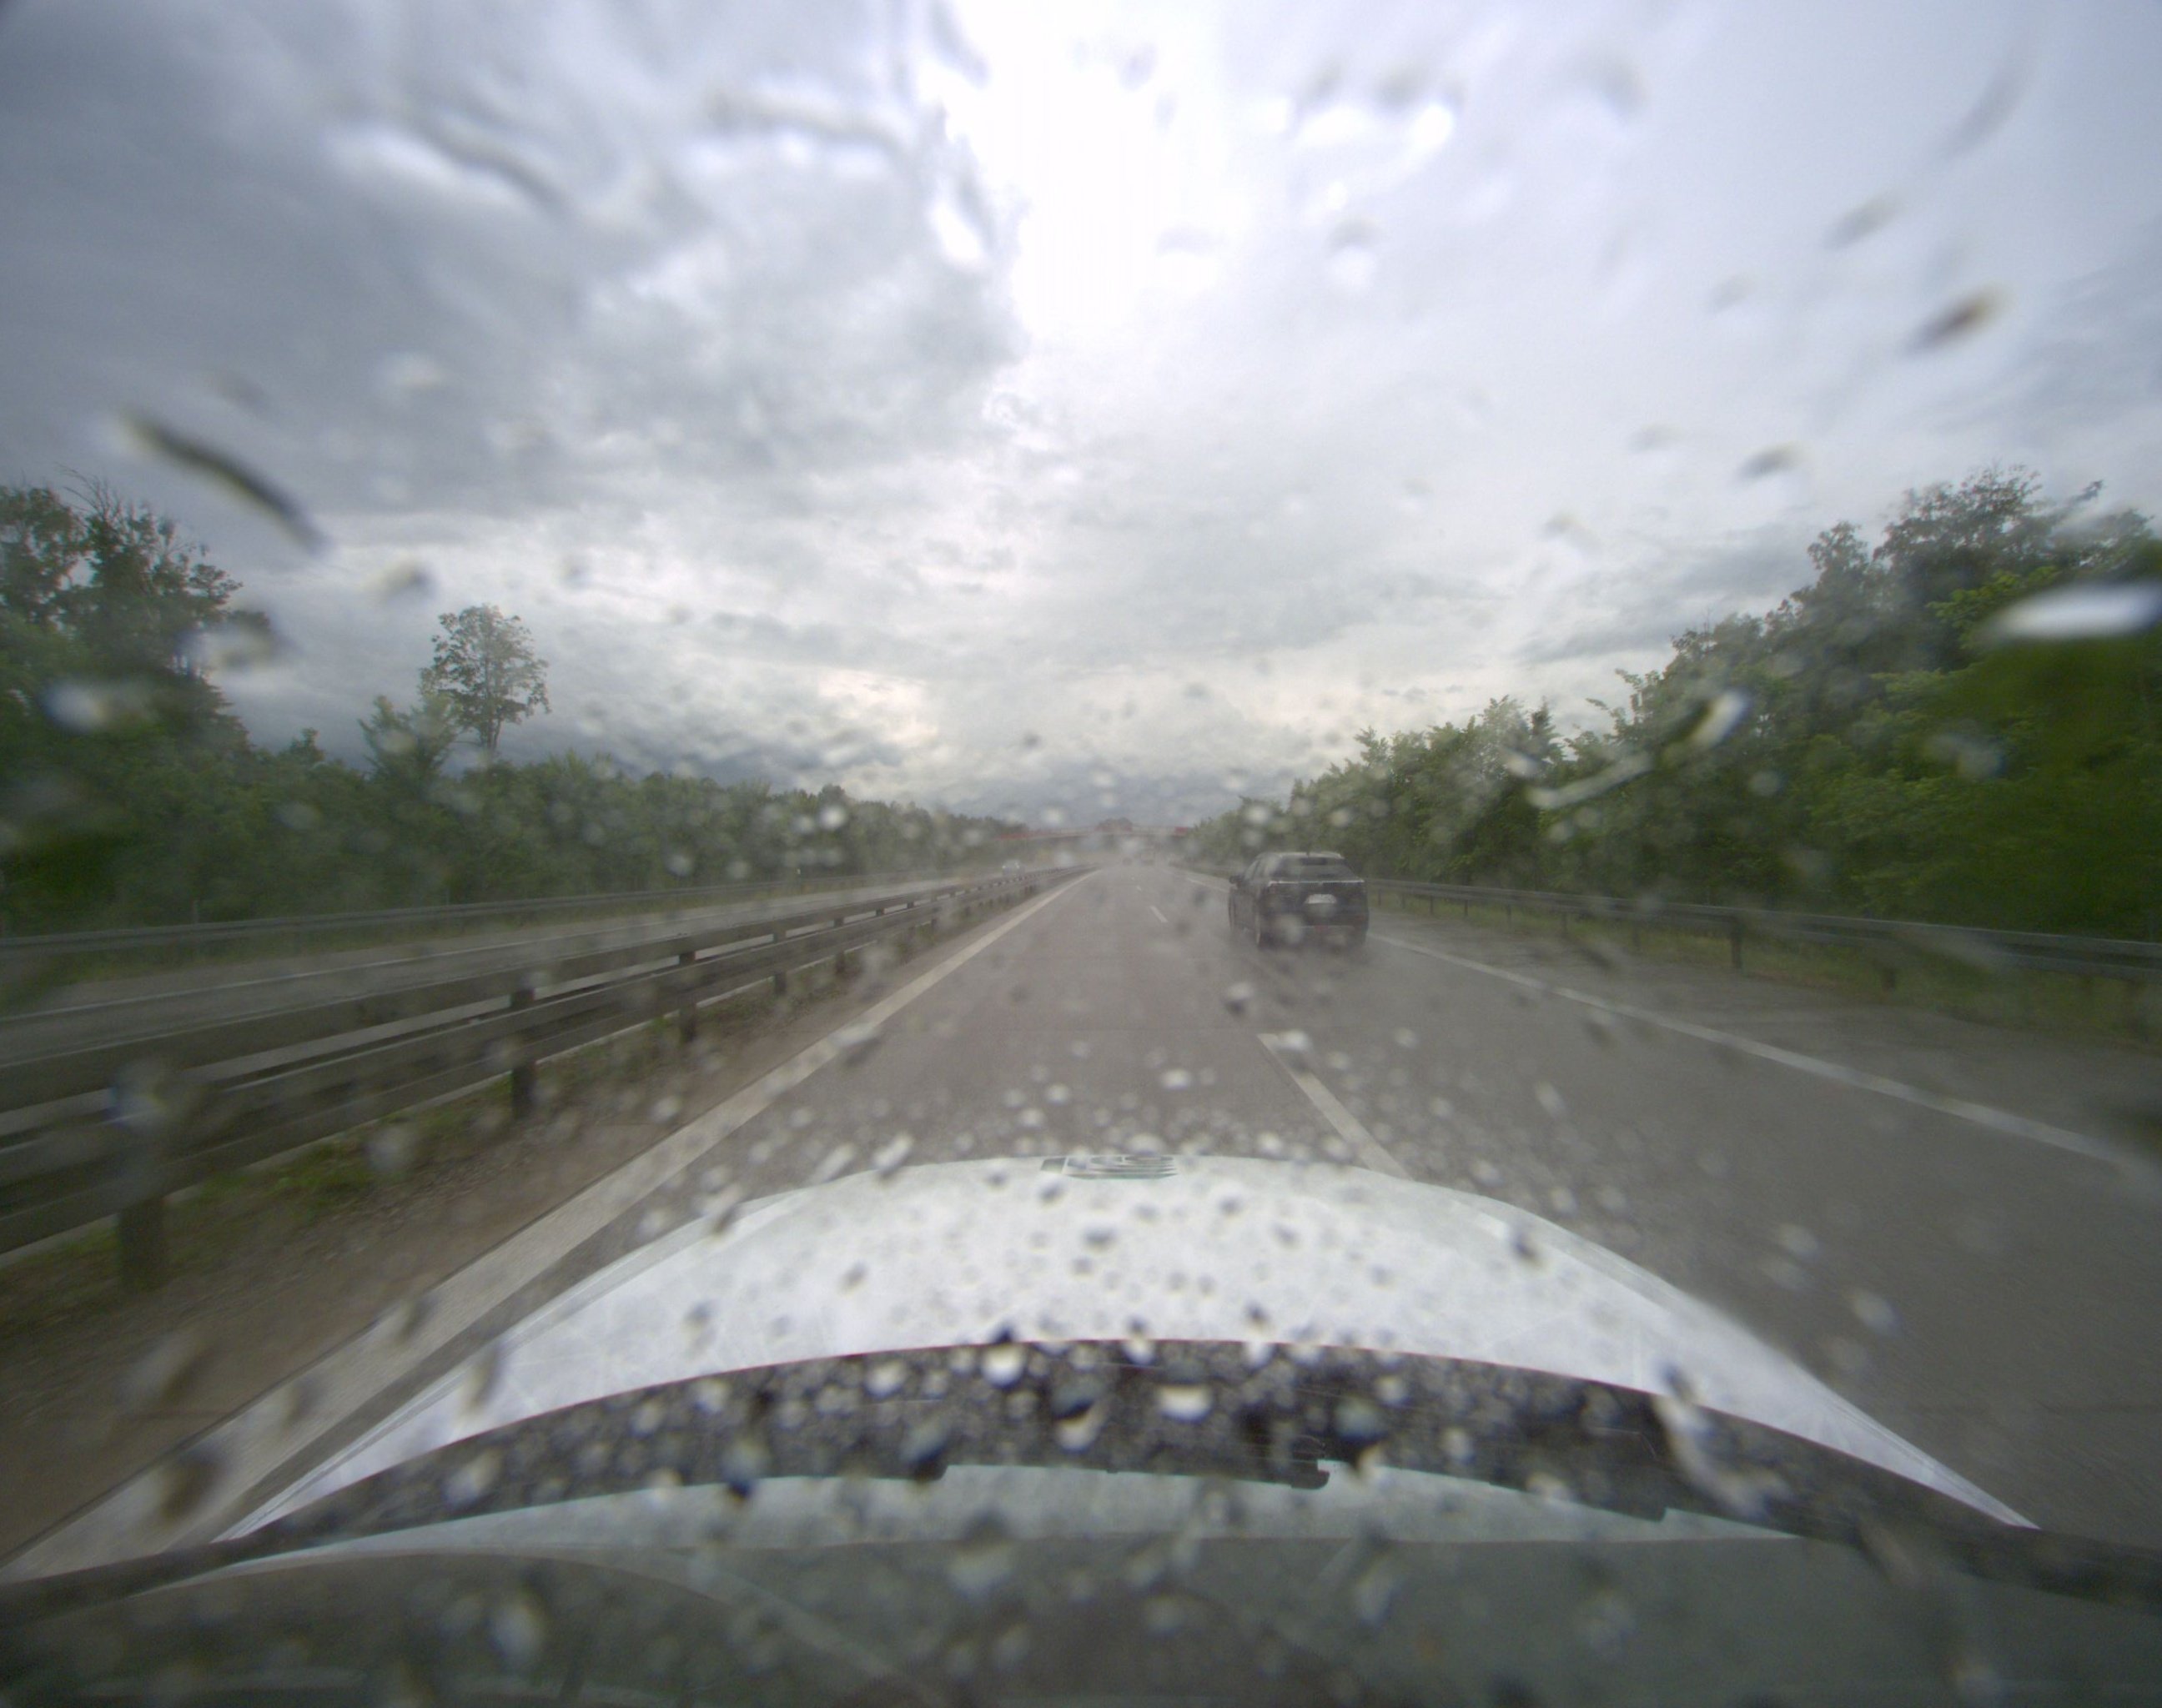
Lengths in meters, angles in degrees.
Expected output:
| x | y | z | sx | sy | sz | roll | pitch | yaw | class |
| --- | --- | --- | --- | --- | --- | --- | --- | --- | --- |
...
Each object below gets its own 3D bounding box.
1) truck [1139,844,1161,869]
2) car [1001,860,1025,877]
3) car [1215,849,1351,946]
| x | y | z | sx | sy | sz | roll | pitch | yaw | class |
| --- | --- | --- | --- | --- | --- | --- | --- | --- | --- |
| 12.578 | 0.417 | 148.511 | 3.224 | 4.437 | 8.268 | -1 | 0 | 10 | truck |
| -7.109 | 1.513 | 85.862 | 1.986 | 1.582 | 4.002 | -3 | 1 | 2 | car |
| 3.597 | 0.730 | 15.126 | 1.885 | 1.576 | 3.636 | -1 | 0 | 4 | car |
